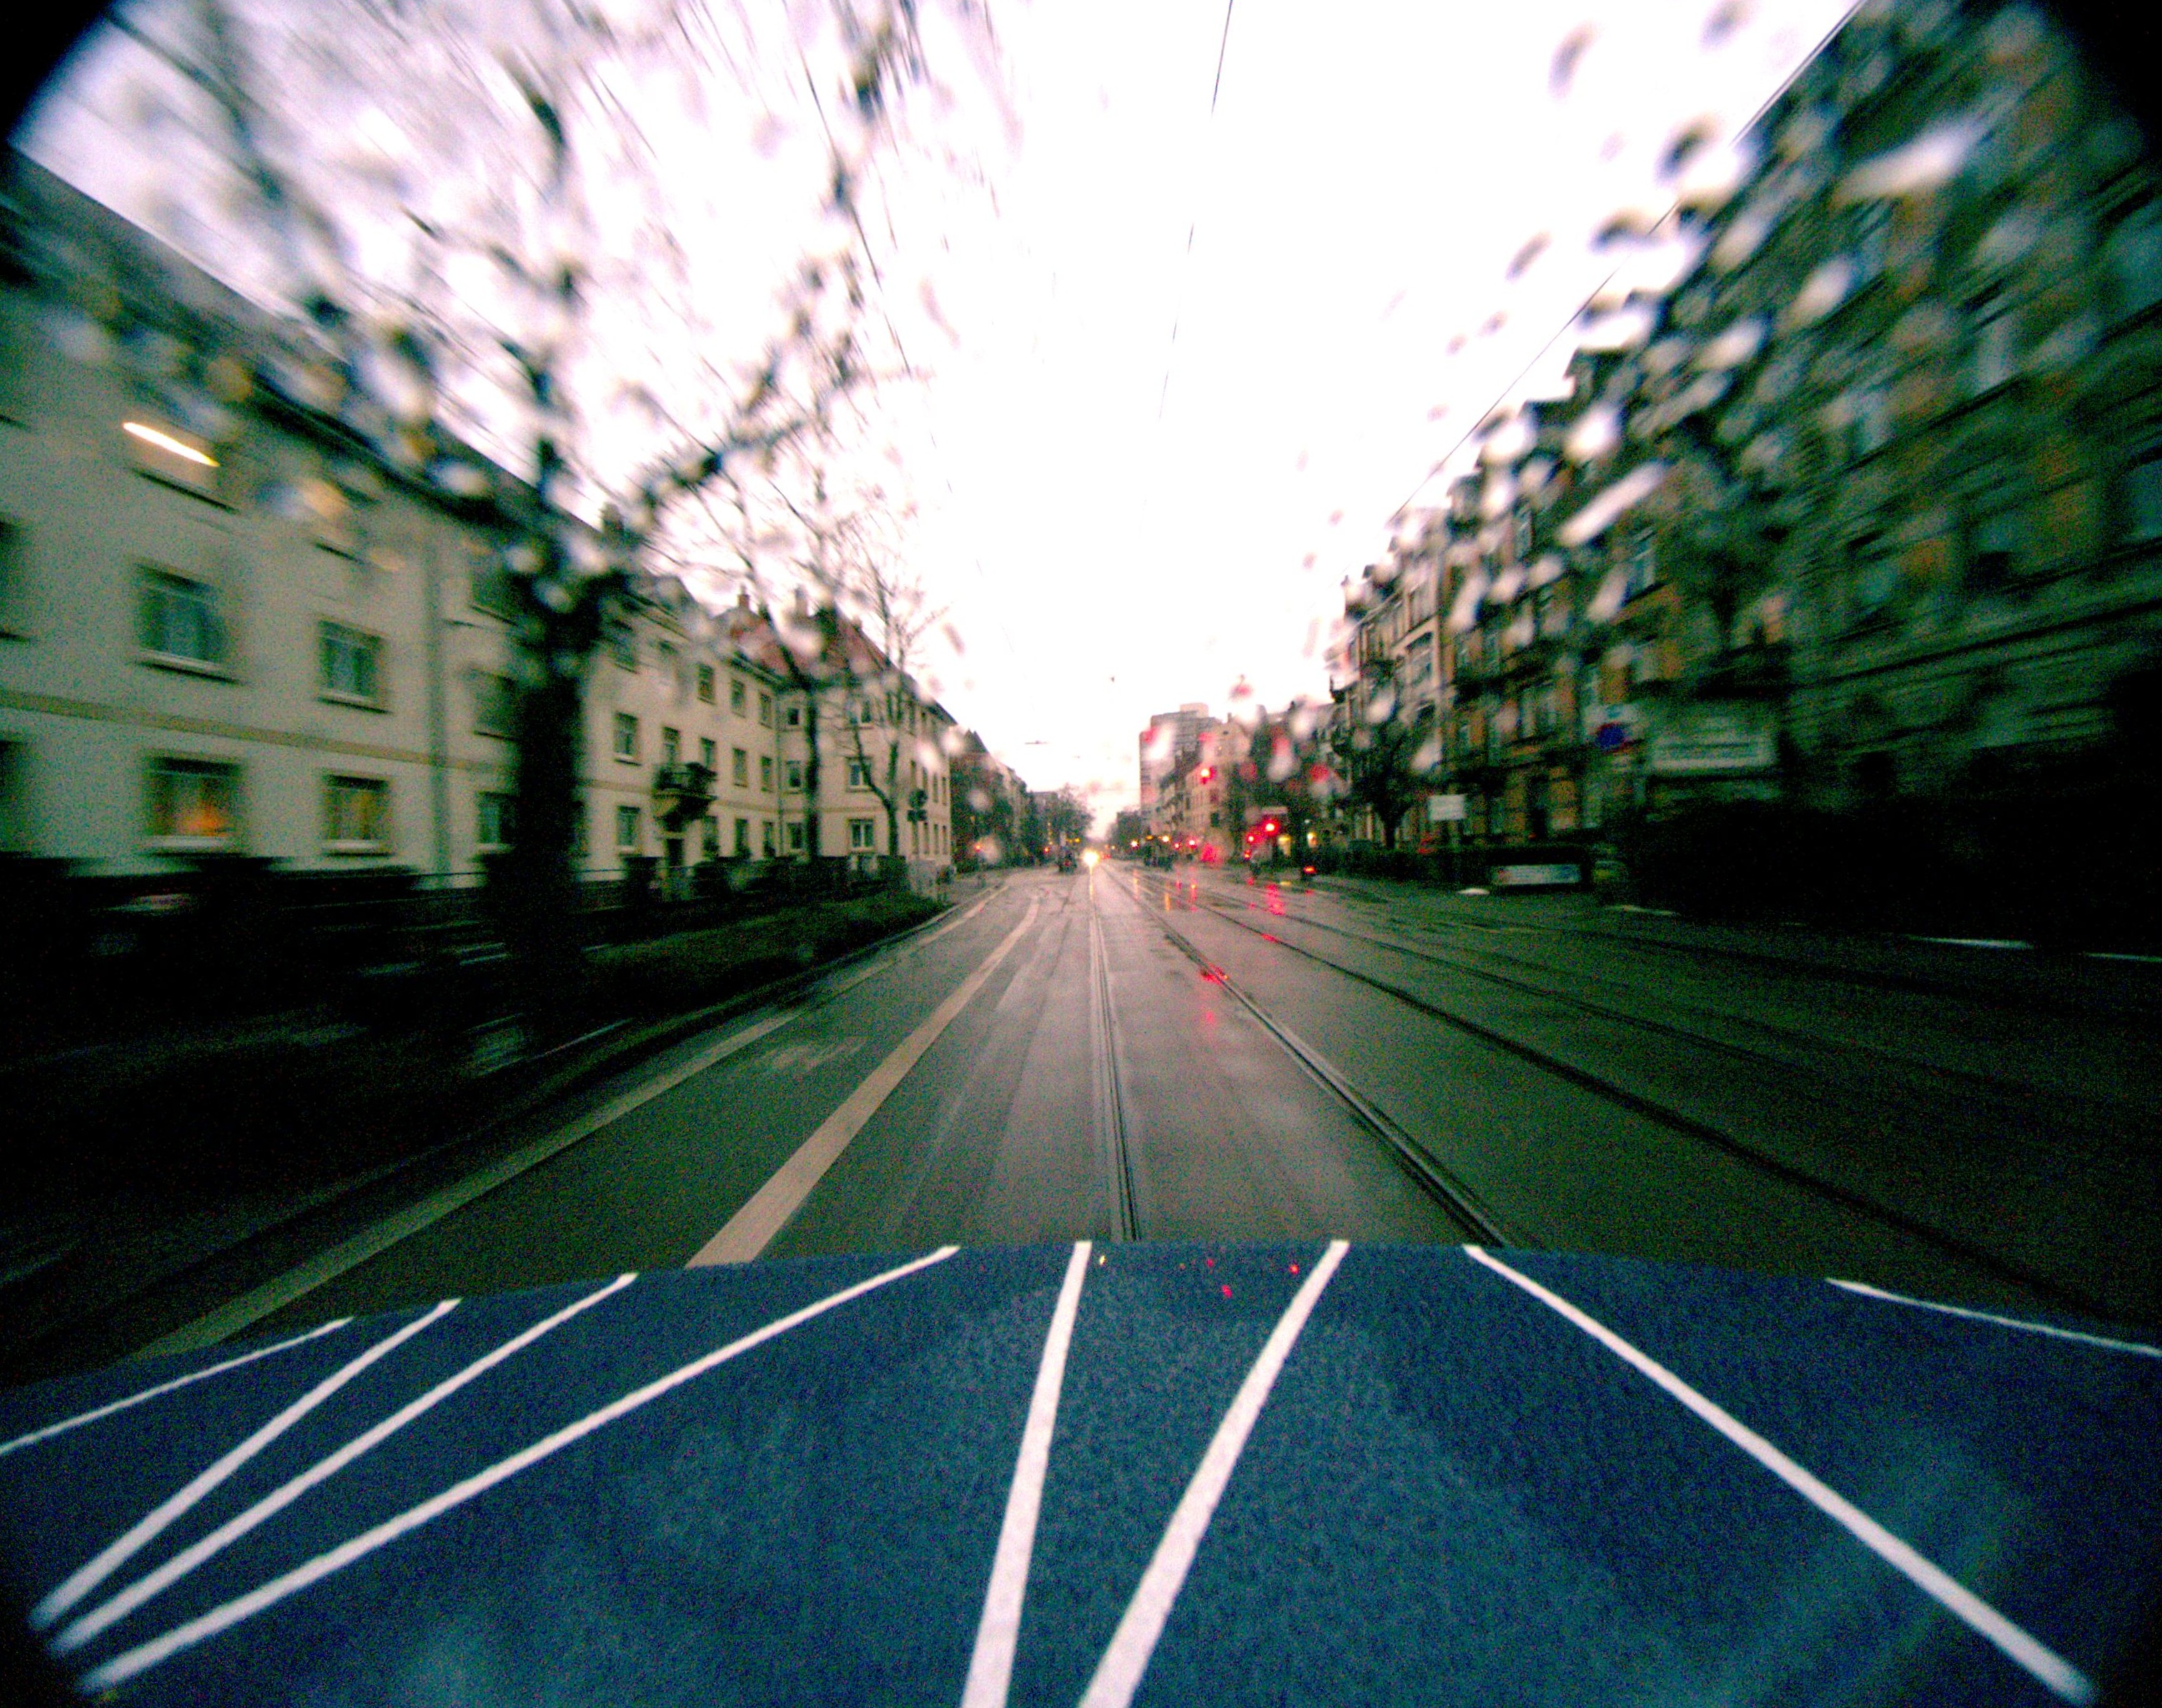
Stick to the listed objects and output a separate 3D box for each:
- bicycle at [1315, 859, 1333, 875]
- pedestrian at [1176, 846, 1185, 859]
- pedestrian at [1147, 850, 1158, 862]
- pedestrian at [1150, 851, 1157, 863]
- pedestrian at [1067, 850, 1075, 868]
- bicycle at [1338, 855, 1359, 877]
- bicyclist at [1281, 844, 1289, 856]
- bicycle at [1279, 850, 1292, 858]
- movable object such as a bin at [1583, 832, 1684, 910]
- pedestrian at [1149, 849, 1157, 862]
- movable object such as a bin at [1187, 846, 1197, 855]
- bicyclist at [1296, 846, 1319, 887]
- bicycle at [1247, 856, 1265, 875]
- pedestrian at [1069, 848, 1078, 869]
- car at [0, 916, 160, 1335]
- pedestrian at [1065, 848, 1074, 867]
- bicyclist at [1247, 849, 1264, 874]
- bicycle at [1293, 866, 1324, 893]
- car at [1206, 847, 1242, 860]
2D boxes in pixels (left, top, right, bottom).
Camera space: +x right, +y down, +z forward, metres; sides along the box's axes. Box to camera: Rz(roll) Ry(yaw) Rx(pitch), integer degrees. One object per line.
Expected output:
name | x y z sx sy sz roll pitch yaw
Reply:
bicycle | 13.391 0.706 41.886 0.400 0.857 1.849 -3 1 2
pedestrian | 15.137 -0.221 115.585 0.796 1.867 0.896 -4 1 37
pedestrian | 7.720 0.242 81.904 1.058 1.247 0.506 -5 1 1
pedestrian | 7.767 0.338 81.305 0.654 1.211 0.517 -5 1 1
pedestrian | -0.998 0.491 74.311 0.558 1.797 0.571 -5 1 2
bicycle | 13.051 0.582 37.115 0.417 1.001 1.849 -3 1 2
bicyclist | 24.893 -0.493 92.822 0.531 1.356 0.764 -5 1 -23
bicycle | 24.944 0.007 92.765 0.492 1.001 1.808 -2 1 -23
movable object such as a bin | 12.084 0.356 16.674 1.246 1.576 1.308 -3 1 6
pedestrian | 7.876 0.133 83.067 0.685 1.395 0.578 -5 1 1
movable object such as a bin | 17.895 -0.533 122.888 1.352 1.364 1.281 -5 1 0
bicyclist | 9.183 0.491 30.844 0.685 1.607 0.765 -3 1 2
bicycle | 9.911 0.648 43.095 0.683 1.001 1.803 -2 0 2
pedestrian | -0.703 0.413 69.123 0.689 1.906 0.717 -2 1 -9
car | -4.908 1.070 1.268 1.790 1.501 3.987 -2 1 0
pedestrian | -1.086 0.311 71.332 0.659 1.698 0.571 -5 1 2
bicyclist | 9.890 0.414 43.112 0.706 1.356 0.944 -4 1 2
bicycle | 9.210 1.025 30.811 0.680 0.966 1.933 -3 1 2
car | 18.578 -0.085 98.646 4.335 1.574 1.939 -1 1 16
